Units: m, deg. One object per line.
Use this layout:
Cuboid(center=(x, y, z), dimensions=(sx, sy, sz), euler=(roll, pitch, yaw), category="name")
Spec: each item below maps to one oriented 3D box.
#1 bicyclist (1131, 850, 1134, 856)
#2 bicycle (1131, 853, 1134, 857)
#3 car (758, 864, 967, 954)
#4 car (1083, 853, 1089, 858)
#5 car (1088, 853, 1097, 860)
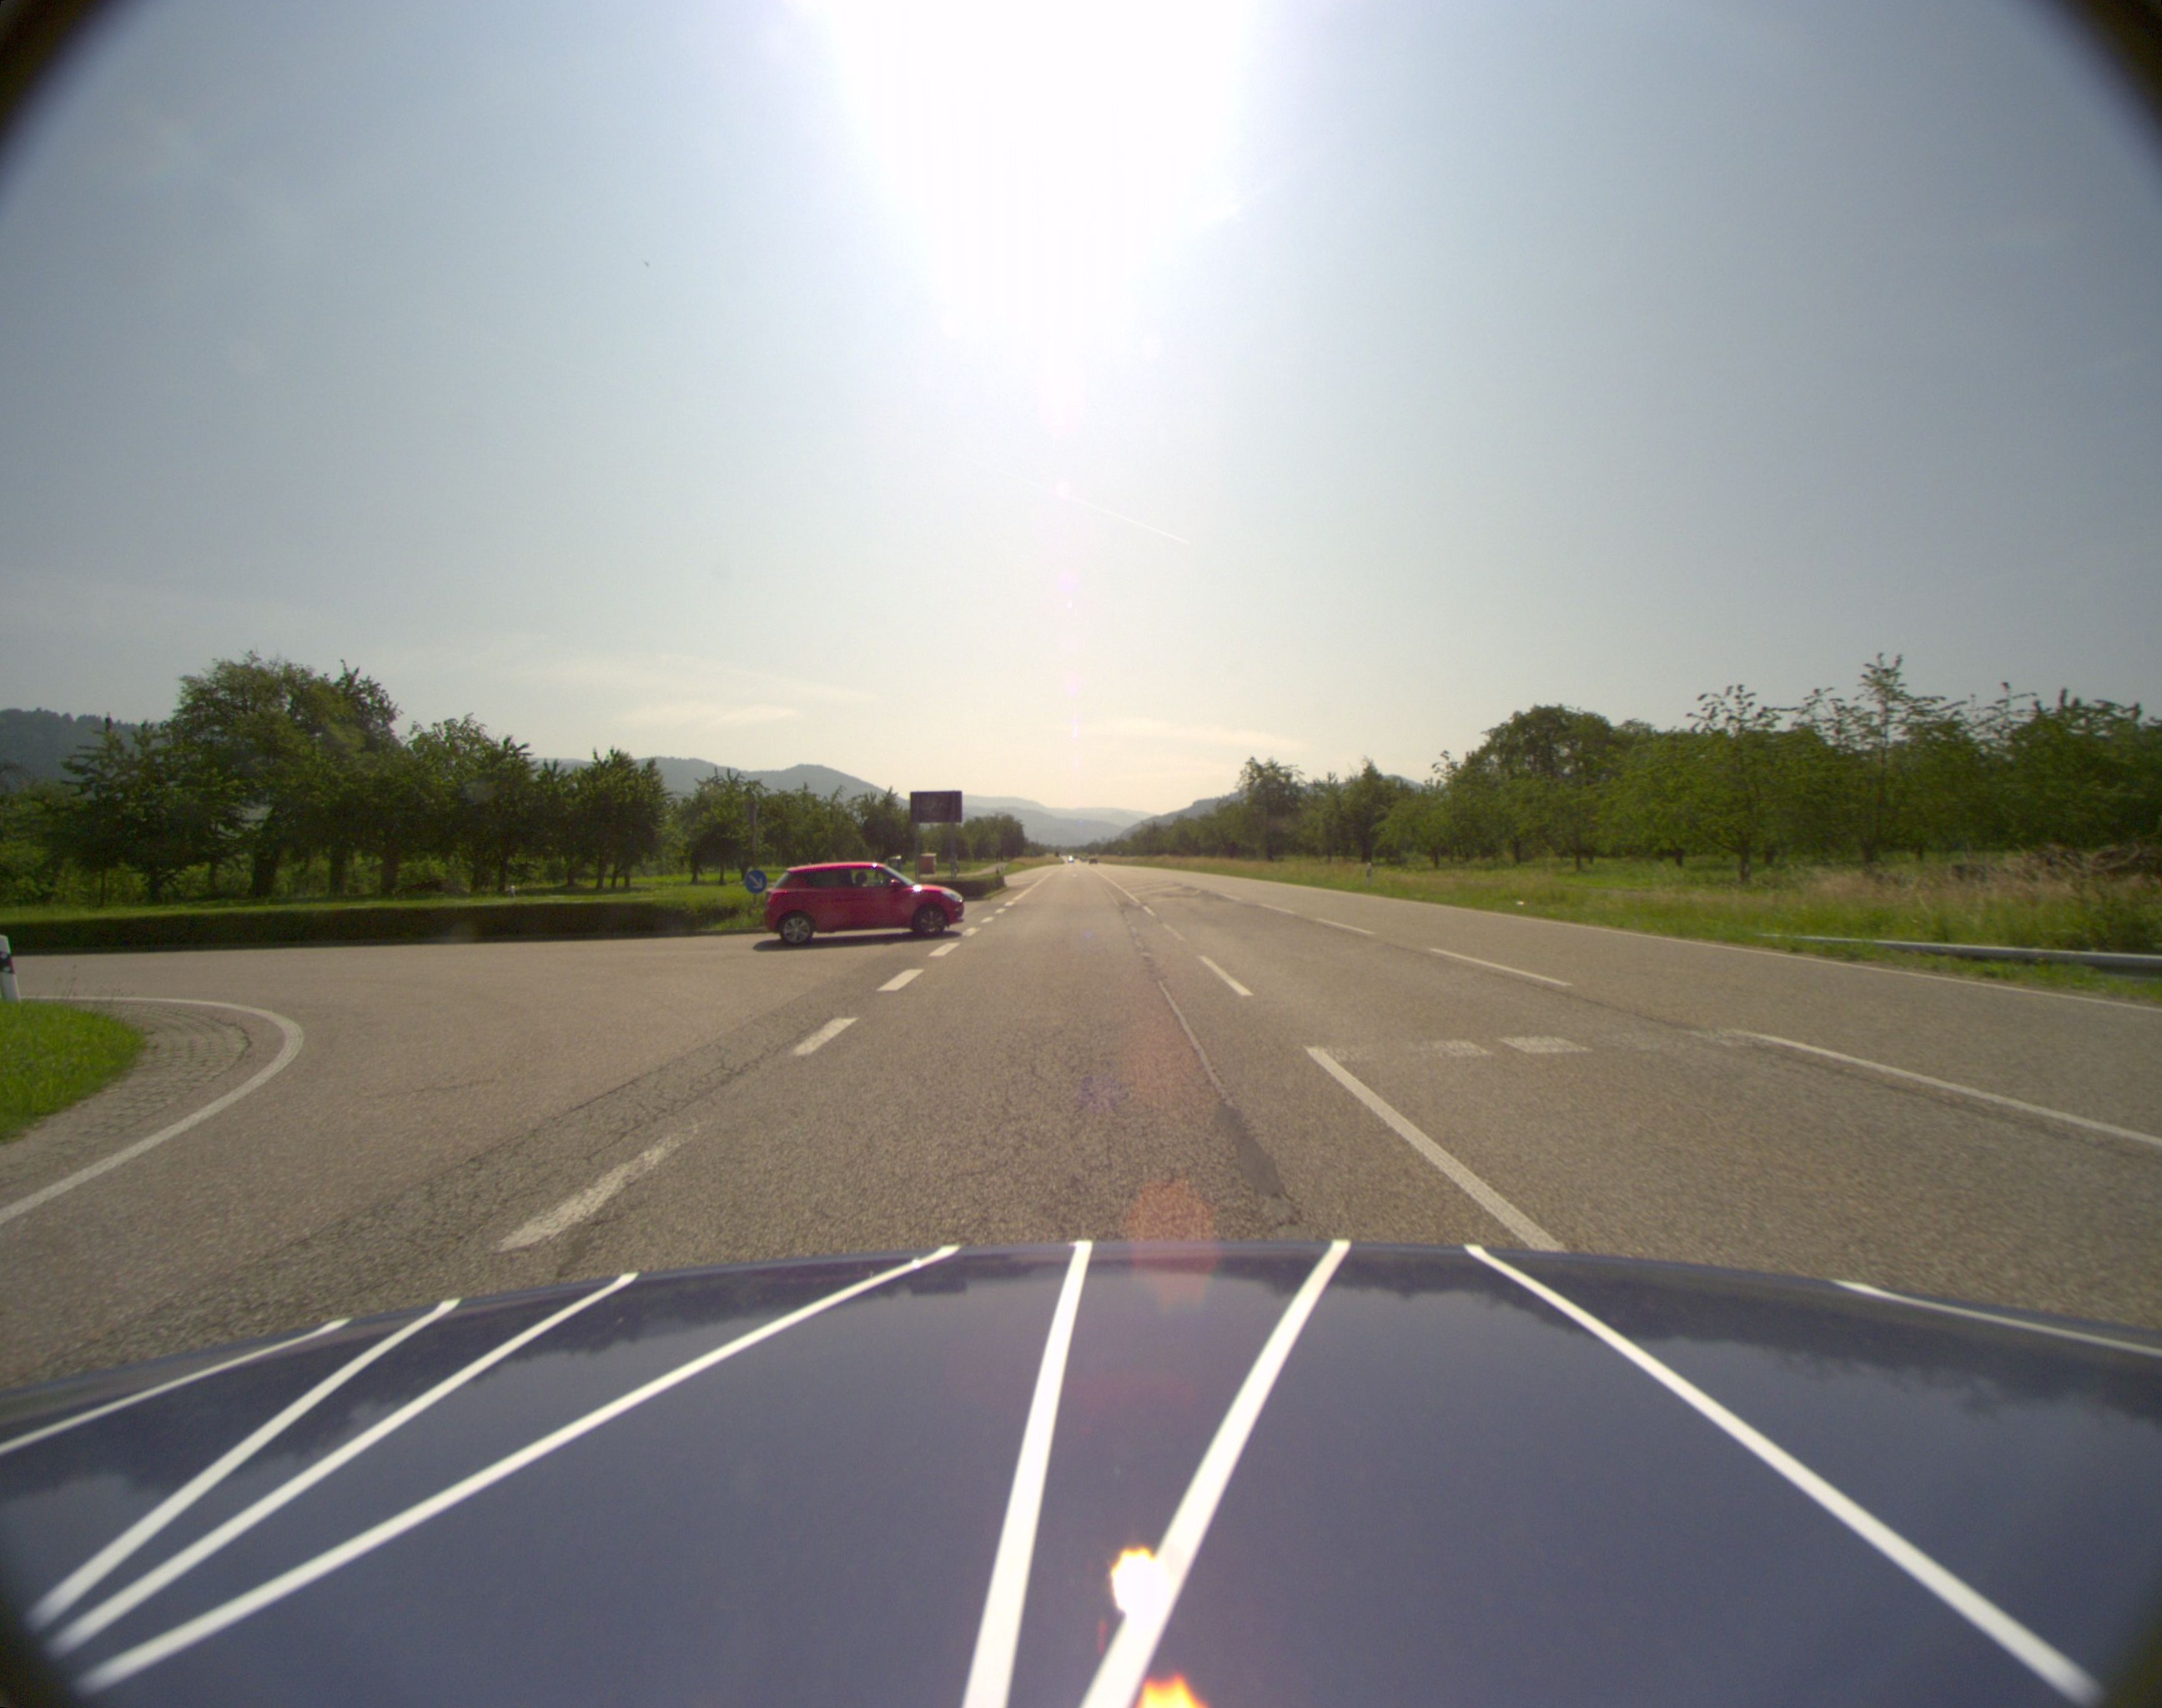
Cuboid(center=(13.369, -0.218, 197.768), dimensions=(0.742, 1.446, 0.863), euler=(-2, 1, 0), category="bicyclist")
Cuboid(center=(13.379, 0.135, 197.776), dimensions=(0.742, 0.984, 2.224), euler=(-2, 1, 0), category="bicycle")
Cuboid(center=(-4.315, 0.999, 15.068), dimensions=(3.756, 1.484, 1.669), euler=(-2, 0, -21), category="car")
Cuboid(center=(1.543, 0.401, 236.388), dimensions=(1.679, 1.485, 4.136), euler=(-2, 0, -1), category="car")
Cuboid(center=(2.564, 0.576, 164.610), dimensions=(1.702, 1.408, 3.824), euler=(-1, 0, -3), category="car")
